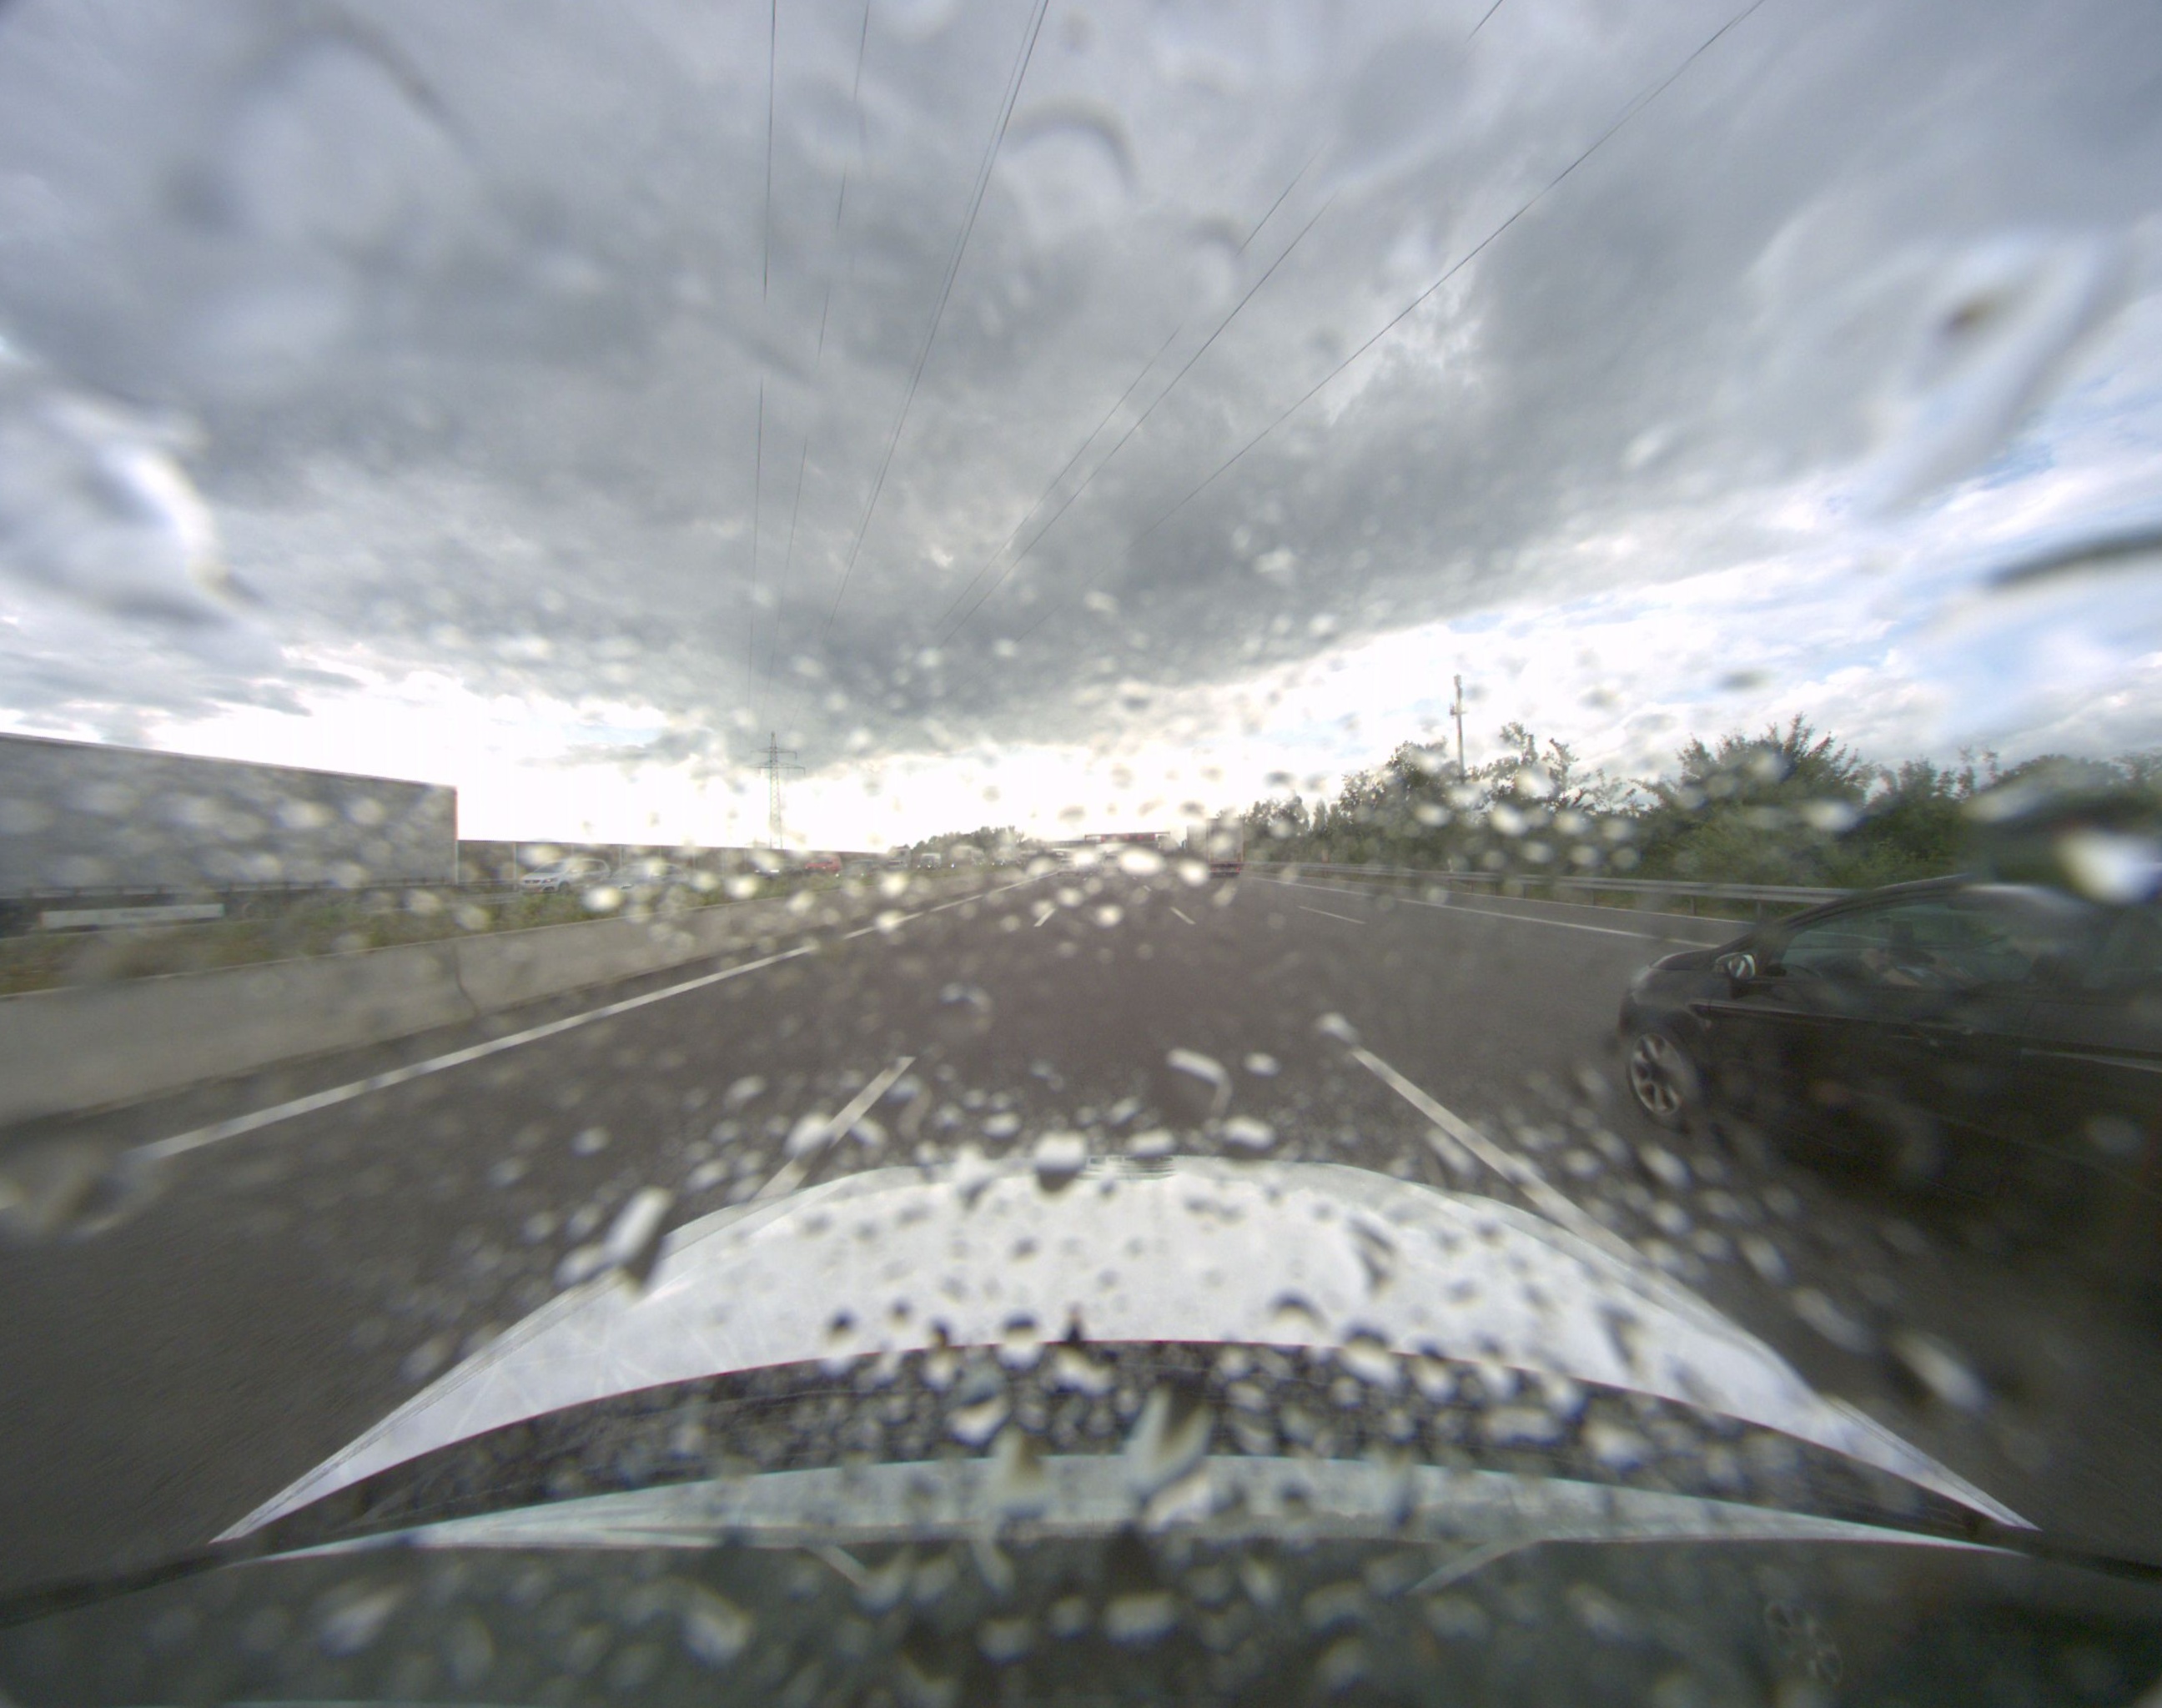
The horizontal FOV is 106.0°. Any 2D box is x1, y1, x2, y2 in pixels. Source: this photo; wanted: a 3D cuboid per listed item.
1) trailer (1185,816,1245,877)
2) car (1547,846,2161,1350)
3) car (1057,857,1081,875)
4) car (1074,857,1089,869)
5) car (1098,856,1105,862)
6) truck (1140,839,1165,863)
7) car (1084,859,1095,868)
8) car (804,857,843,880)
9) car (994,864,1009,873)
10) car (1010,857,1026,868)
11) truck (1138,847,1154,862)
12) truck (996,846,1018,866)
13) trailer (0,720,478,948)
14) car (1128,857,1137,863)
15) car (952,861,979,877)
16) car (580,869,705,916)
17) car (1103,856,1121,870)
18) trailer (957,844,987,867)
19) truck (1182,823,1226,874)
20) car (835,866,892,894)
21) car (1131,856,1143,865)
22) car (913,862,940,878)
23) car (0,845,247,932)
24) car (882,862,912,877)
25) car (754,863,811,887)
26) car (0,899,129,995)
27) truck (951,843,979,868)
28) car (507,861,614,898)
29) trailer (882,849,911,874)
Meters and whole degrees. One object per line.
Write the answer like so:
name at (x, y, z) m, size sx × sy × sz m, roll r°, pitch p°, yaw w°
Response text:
trailer at (9.805, -0.479, 61.221) m, size 2.949 × 4.020 × 14.130 m, roll -1°, pitch 0°, yaw 3°
car at (3.844, 0.697, 3.918) m, size 1.442 × 1.441 × 3.164 m, roll -1°, pitch 0°, yaw 1°
car at (-0.972, 0.974, 68.100) m, size 1.766 × 1.441 × 3.875 m, roll -1°, pitch 0°, yaw 1°
car at (0.099, 1.123, 103.810) m, size 1.766 × 1.441 × 4.056 m, roll -1°, pitch 0°, yaw 1°
car at (5.228, 1.348, 210.351) m, size 1.765 × 1.441 × 4.058 m, roll -1°, pitch 0°, yaw 3°
truck at (13.516, -0.461, 154.561) m, size 4.164 × 4.288 × 12.618 m, roll 0°, pitch 0°, yaw 2°
car at (1.484, 1.552, 137.703) m, size 1.766 × 1.441 × 4.055 m, roll -1°, pitch 0°, yaw 1°
car at (-22.525, 1.233, 71.516) m, size 1.759 × 1.967 × 4.944 m, roll 0°, pitch 0°, yaw 1°
car at (-12.672, 2.323, 129.823) m, size 1.781 × 1.454 × 4.565 m, roll 0°, pitch 0°, yaw 1°
car at (-11.870, 1.617, 153.700) m, size 2.270 × 1.968 × 6.092 m, roll 0°, pitch 0°, yaw 4°
truck at (18.422, 0.060, 232.830) m, size 4.226 × 4.176 × 11.997 m, roll 0°, pitch 0°, yaw 3°
truck at (-15.037, 0.406, 165.413) m, size 3.645 × 4.048 × 6.529 m, roll 0°, pitch -1°, yaw 3°
trailer at (-20.787, -0.322, 18.962) m, size 3.307 × 4.061 × 13.292 m, roll 0°, pitch 0°, yaw 2°
car at (11.699, 1.307, 185.593) m, size 1.828 × 1.441 × 4.058 m, roll -1°, pitch 0°, yaw 3°
car at (-11.090, 1.425, 78.407) m, size 1.820 × 1.454 × 4.944 m, roll 0°, pitch 0°, yaw 1°
car at (-16.117, 1.375, 30.323) m, size 1.759 × 1.537 × 5.161 m, roll 0°, pitch 0°, yaw 1°
car at (3.197, 0.934, 84.589) m, size 1.766 × 1.441 × 4.056 m, roll -1°, pitch 0°, yaw 1°
trailer at (-20.449, 0.336, 153.824) m, size 3.646 × 4.237 × 12.472 m, roll 0°, pitch 0°, yaw 2°
truck at (10.171, -0.451, 67.873) m, size 2.949 × 4.020 × 6.594 m, roll -1°, pitch 0°, yaw 3°
car at (-12.210, 1.435, 46.036) m, size 1.759 × 1.454 × 5.086 m, roll 0°, pitch 0°, yaw 1°
car at (9.003, 1.079, 130.526) m, size 1.828 × 1.441 × 4.058 m, roll -1°, pitch 0°, yaw 3°
car at (-15.201, 1.545, 80.180) m, size 1.759 × 1.454 × 4.234 m, roll 0°, pitch 0°, yaw 1°
car at (-24.608, 0.826, 20.972) m, size 1.995 × 2.014 × 4.003 m, roll 0°, pitch 0°, yaw 3°
car at (-18.231, 1.545, 80.784) m, size 1.759 × 1.454 × 4.944 m, roll 0°, pitch 0°, yaw 1°
car at (-19.392, 1.346, 53.122) m, size 1.759 × 1.454 × 4.944 m, roll 0°, pitch 0°, yaw 1°
car at (-27.256, 2.322, 19.447) m, size 2.108 × 2.194 × 5.799 m, roll 0°, pitch 0°, yaw 1°
truck at (-20.704, 0.281, 146.213) m, size 3.646 × 4.319 × 8.241 m, roll 0°, pitch 0°, yaw 2°
car at (-24.160, 1.118, 38.051) m, size 1.759 × 1.610 × 4.944 m, roll 0°, pitch 0°, yaw 1°
trailer at (-21.784, 0.877, 96.168) m, size 2.240 × 2.962 × 4.901 m, roll 0°, pitch -1°, yaw 1°
